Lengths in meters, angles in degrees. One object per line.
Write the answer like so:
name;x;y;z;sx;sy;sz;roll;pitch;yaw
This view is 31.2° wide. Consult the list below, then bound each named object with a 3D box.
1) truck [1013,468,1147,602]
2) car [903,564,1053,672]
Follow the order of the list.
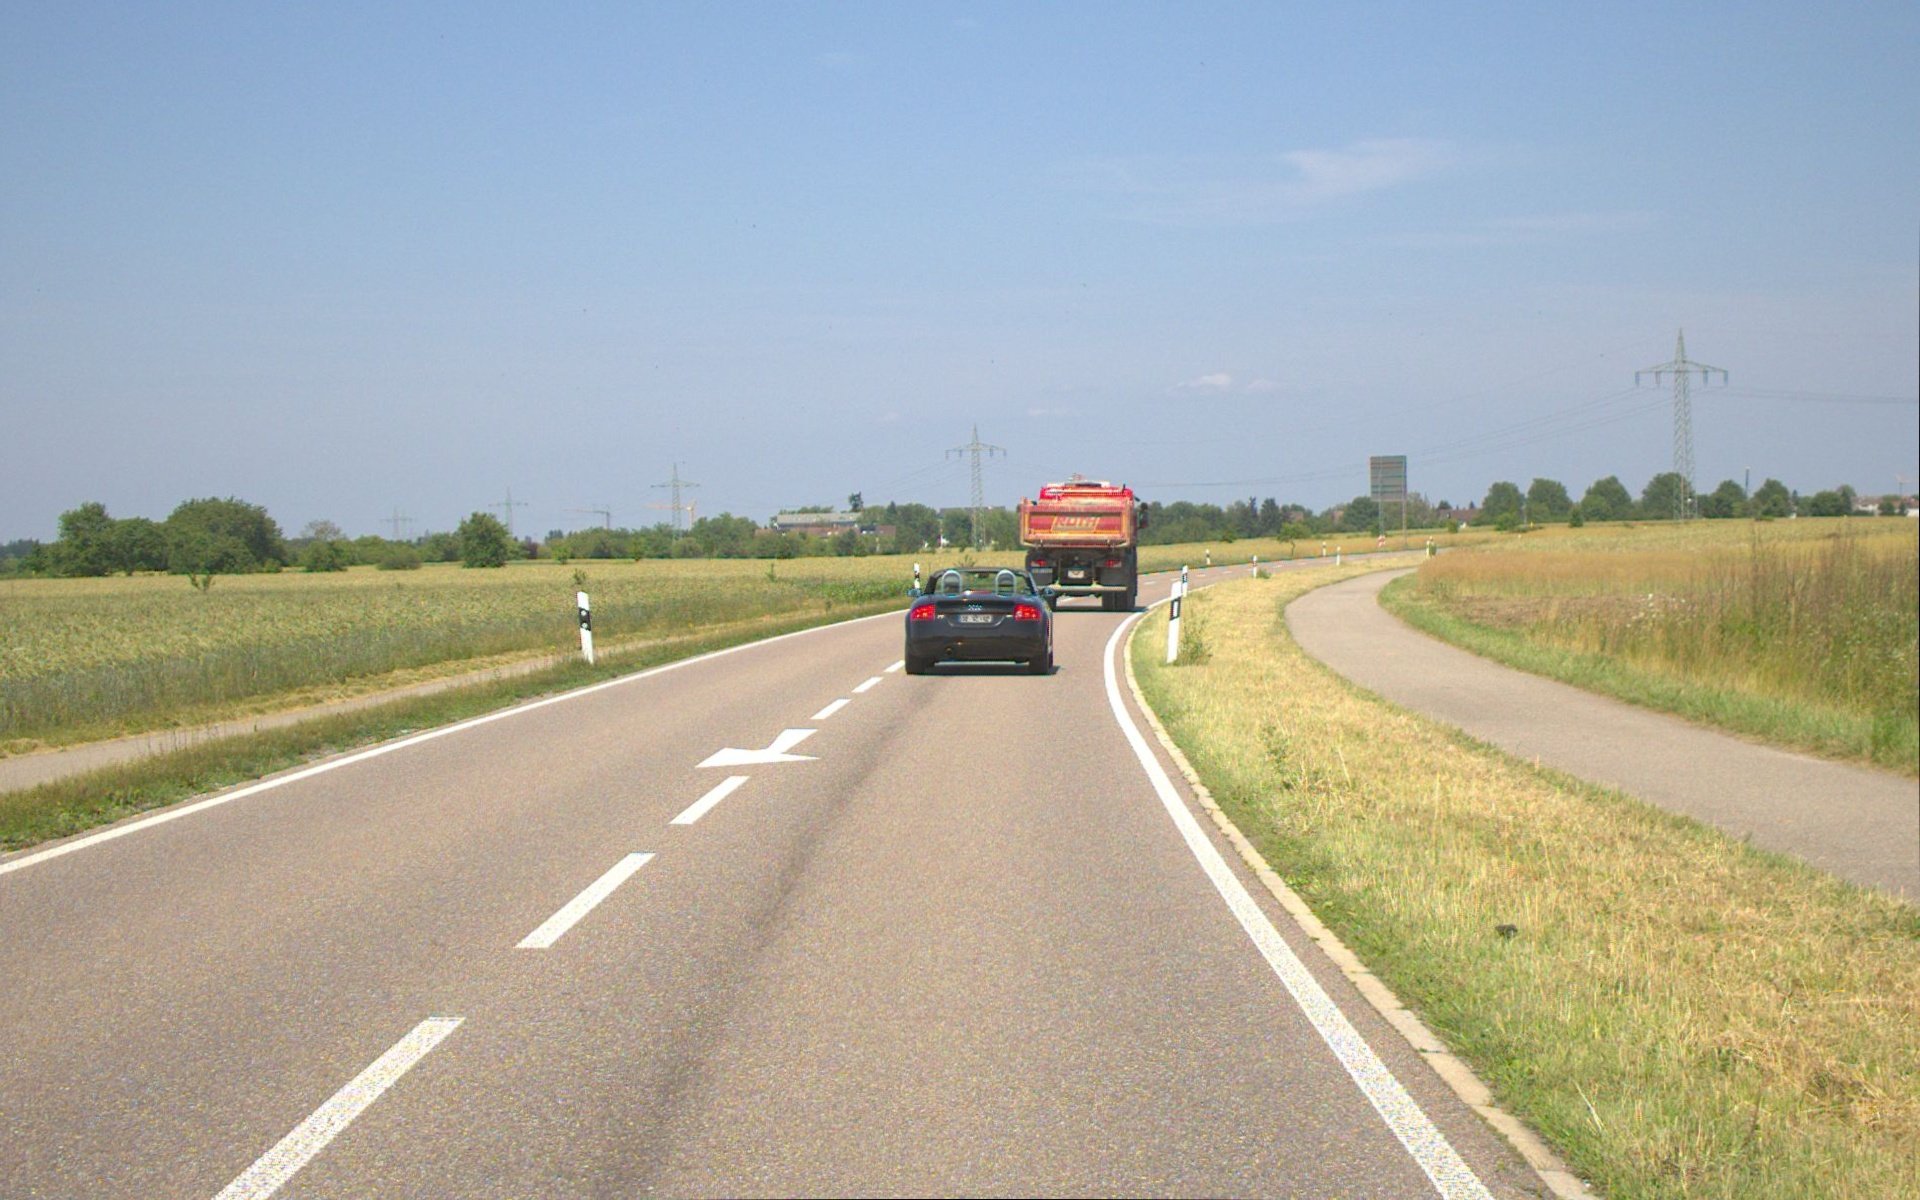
truck;2.960;-1.528;82.951;2.938;3.078;7.195;0;0;4
car;0.267;0.191;42.584;1.744;1.275;4.000;0;1;2
